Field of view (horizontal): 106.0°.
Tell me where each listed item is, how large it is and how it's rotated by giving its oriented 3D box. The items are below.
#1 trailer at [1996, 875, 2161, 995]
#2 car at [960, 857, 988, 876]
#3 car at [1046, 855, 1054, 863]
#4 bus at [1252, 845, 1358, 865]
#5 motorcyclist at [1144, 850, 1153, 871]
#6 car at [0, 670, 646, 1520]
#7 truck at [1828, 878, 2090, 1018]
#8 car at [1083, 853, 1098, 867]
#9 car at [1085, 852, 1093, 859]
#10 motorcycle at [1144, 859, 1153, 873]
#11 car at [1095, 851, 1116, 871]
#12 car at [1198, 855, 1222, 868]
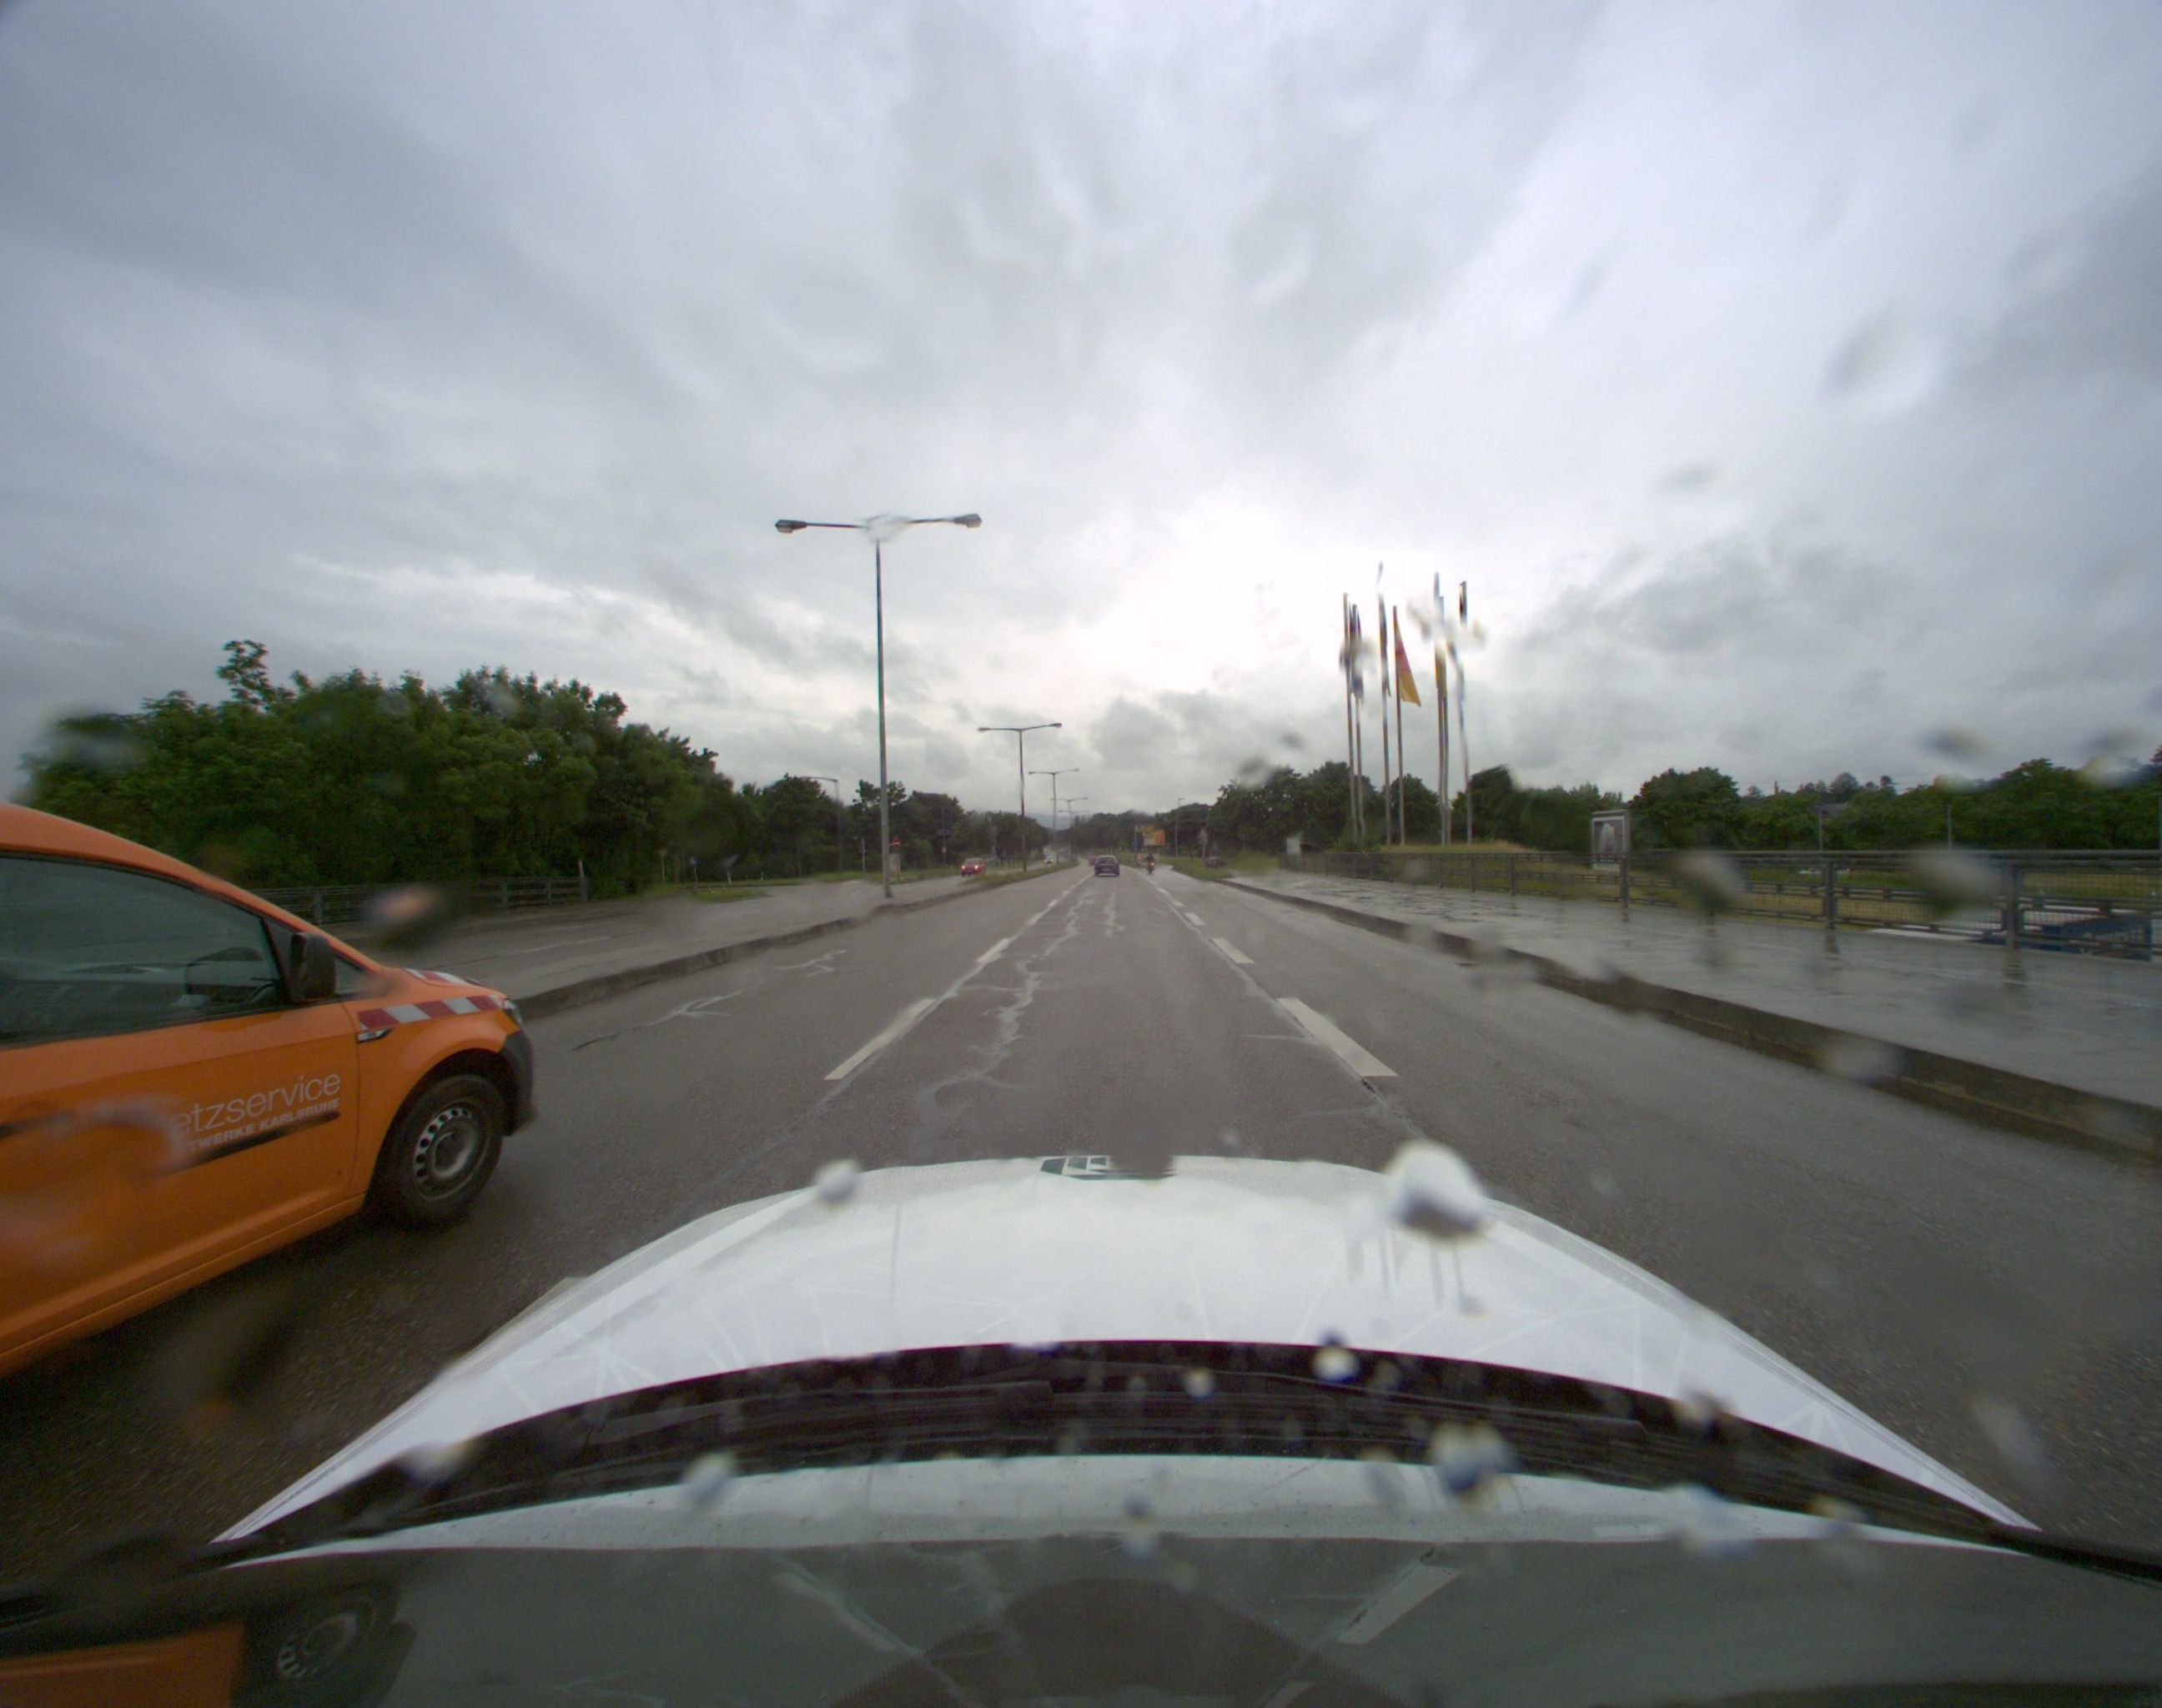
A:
[{"bbox_3d":[41.046,3.106,33.158,7.372,4.301,2.552,-1,0,-20],"label":"trailer"},{"bbox_3d":[-9.013,1.062,68.670,1.654,1.448,3.558,-4,0,2],"label":"car"},{"bbox_3d":[-7.268,1.178,191.241,1.701,1.629,4.492,-4,0,1],"label":"car"},{"bbox_3d":[31.428,0.166,114.263,14.544,2.680,2.754,0,0,-10],"label":"bus"},{"bbox_3d":[5.392,0.495,64.947,0.599,1.690,0.860,-1,0,1],"label":"motorcyclist"},{"bbox_3d":[-3.435,0.592,2.215,1.728,2.019,4.851,-2,-1,2],"label":"car"},{"bbox_3d":[32.433,3.204,29.983,10.944,4.301,2.552,-1,0,-20],"label":"truck"},{"bbox_3d":[1.323,0.780,113.346,1.986,1.879,4.001,-1,0,1],"label":"car"},{"bbox_3d":[2.503,0.613,256.375,2.510,2.052,5.288,-2,0,-3],"label":"car"},{"bbox_3d":[5.409,0.962,64.967,0.599,1.093,1.732,-1,0,1],"label":"motorcycle"},{"bbox_3d":[1.682,0.470,56.699,1.458,1.329,3.758,-1,0,1],"label":"car"},{"bbox_3d":[16.690,1.003,105.198,1.837,1.618,4.024,0,0,27],"label":"car"}]
